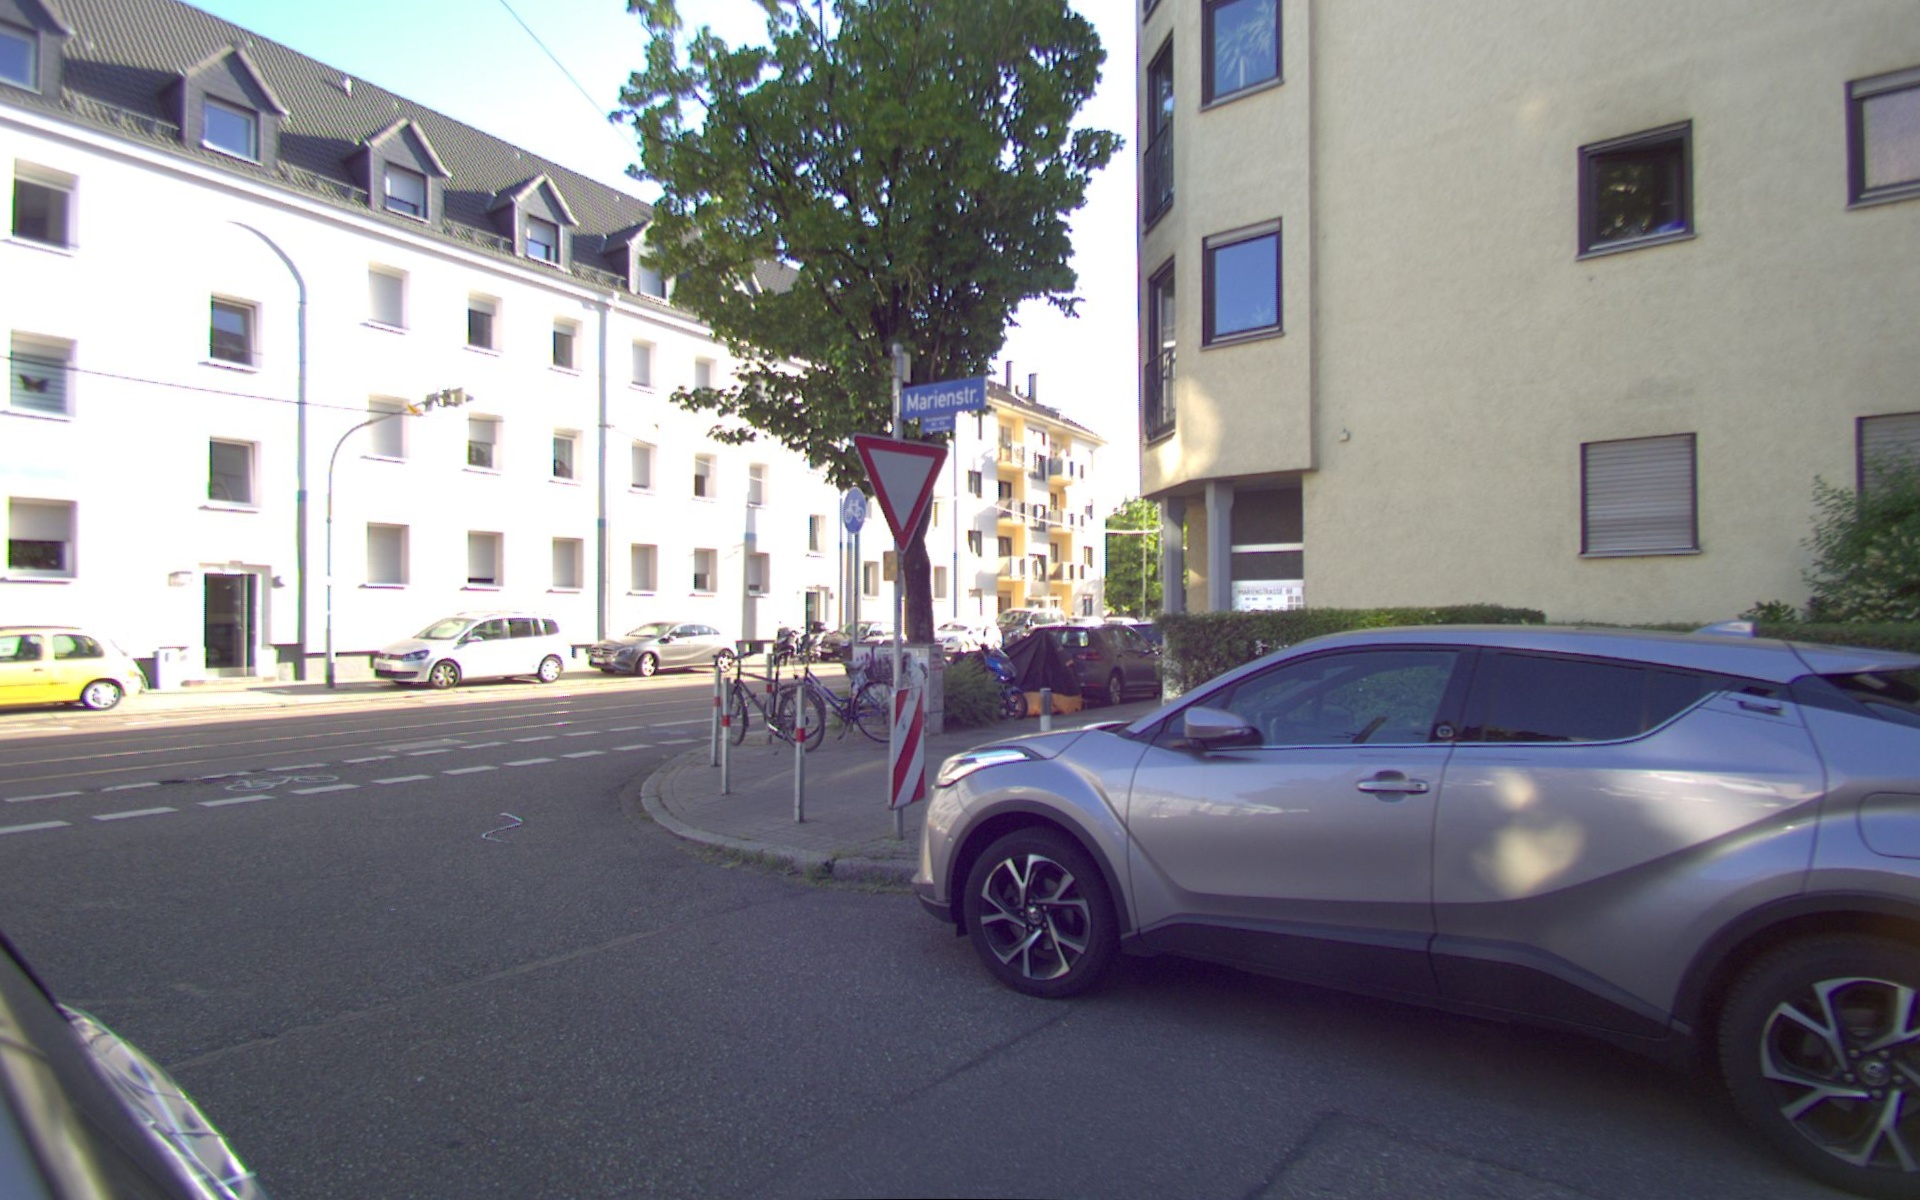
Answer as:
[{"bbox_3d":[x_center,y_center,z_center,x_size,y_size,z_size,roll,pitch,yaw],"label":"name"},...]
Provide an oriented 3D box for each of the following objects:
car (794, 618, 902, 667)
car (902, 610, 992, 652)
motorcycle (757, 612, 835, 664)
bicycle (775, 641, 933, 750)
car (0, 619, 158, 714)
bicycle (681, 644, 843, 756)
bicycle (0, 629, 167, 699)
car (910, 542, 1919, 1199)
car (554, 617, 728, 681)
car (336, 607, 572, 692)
[{"bbox_3d":[-3.839,1.434,35.219,1.610,1.583,3.859,1,-1,34],"label":"car"},{"bbox_3d":[-0.463,1.214,40.522,1.800,1.583,3.861,1,-1,32],"label":"car"},{"bbox_3d":[-5.170,1.187,32.143,0.806,1.533,2.677,2,0,34],"label":"motorcycle"},{"bbox_3d":[-1.192,1.015,11.177,1.807,1.093,0.588,-1,-2,35],"label":"bicycle"},{"bbox_3d":[-15.610,1.046,16.144,1.513,1.441,4.155,0,0,32],"label":"car"},{"bbox_3d":[-2.160,1.035,10.947,1.878,1.093,0.588,-1,-2,35],"label":"bicycle"},{"bbox_3d":[-16.507,1.151,19.015,1.095,1.206,2.302,-1,-2,31],"label":"bicycle"},{"bbox_3d":[1.961,0.745,4.005,3.991,1.672,1.887,-1,-3,35],"label":"car"},{"bbox_3d":[-8.625,1.277,27.679,1.865,1.566,4.315,1,-1,34],"label":"car"},{"bbox_3d":[-11.298,1.048,22.965,1.753,1.678,4.579,1,-1,30],"label":"car"}]
